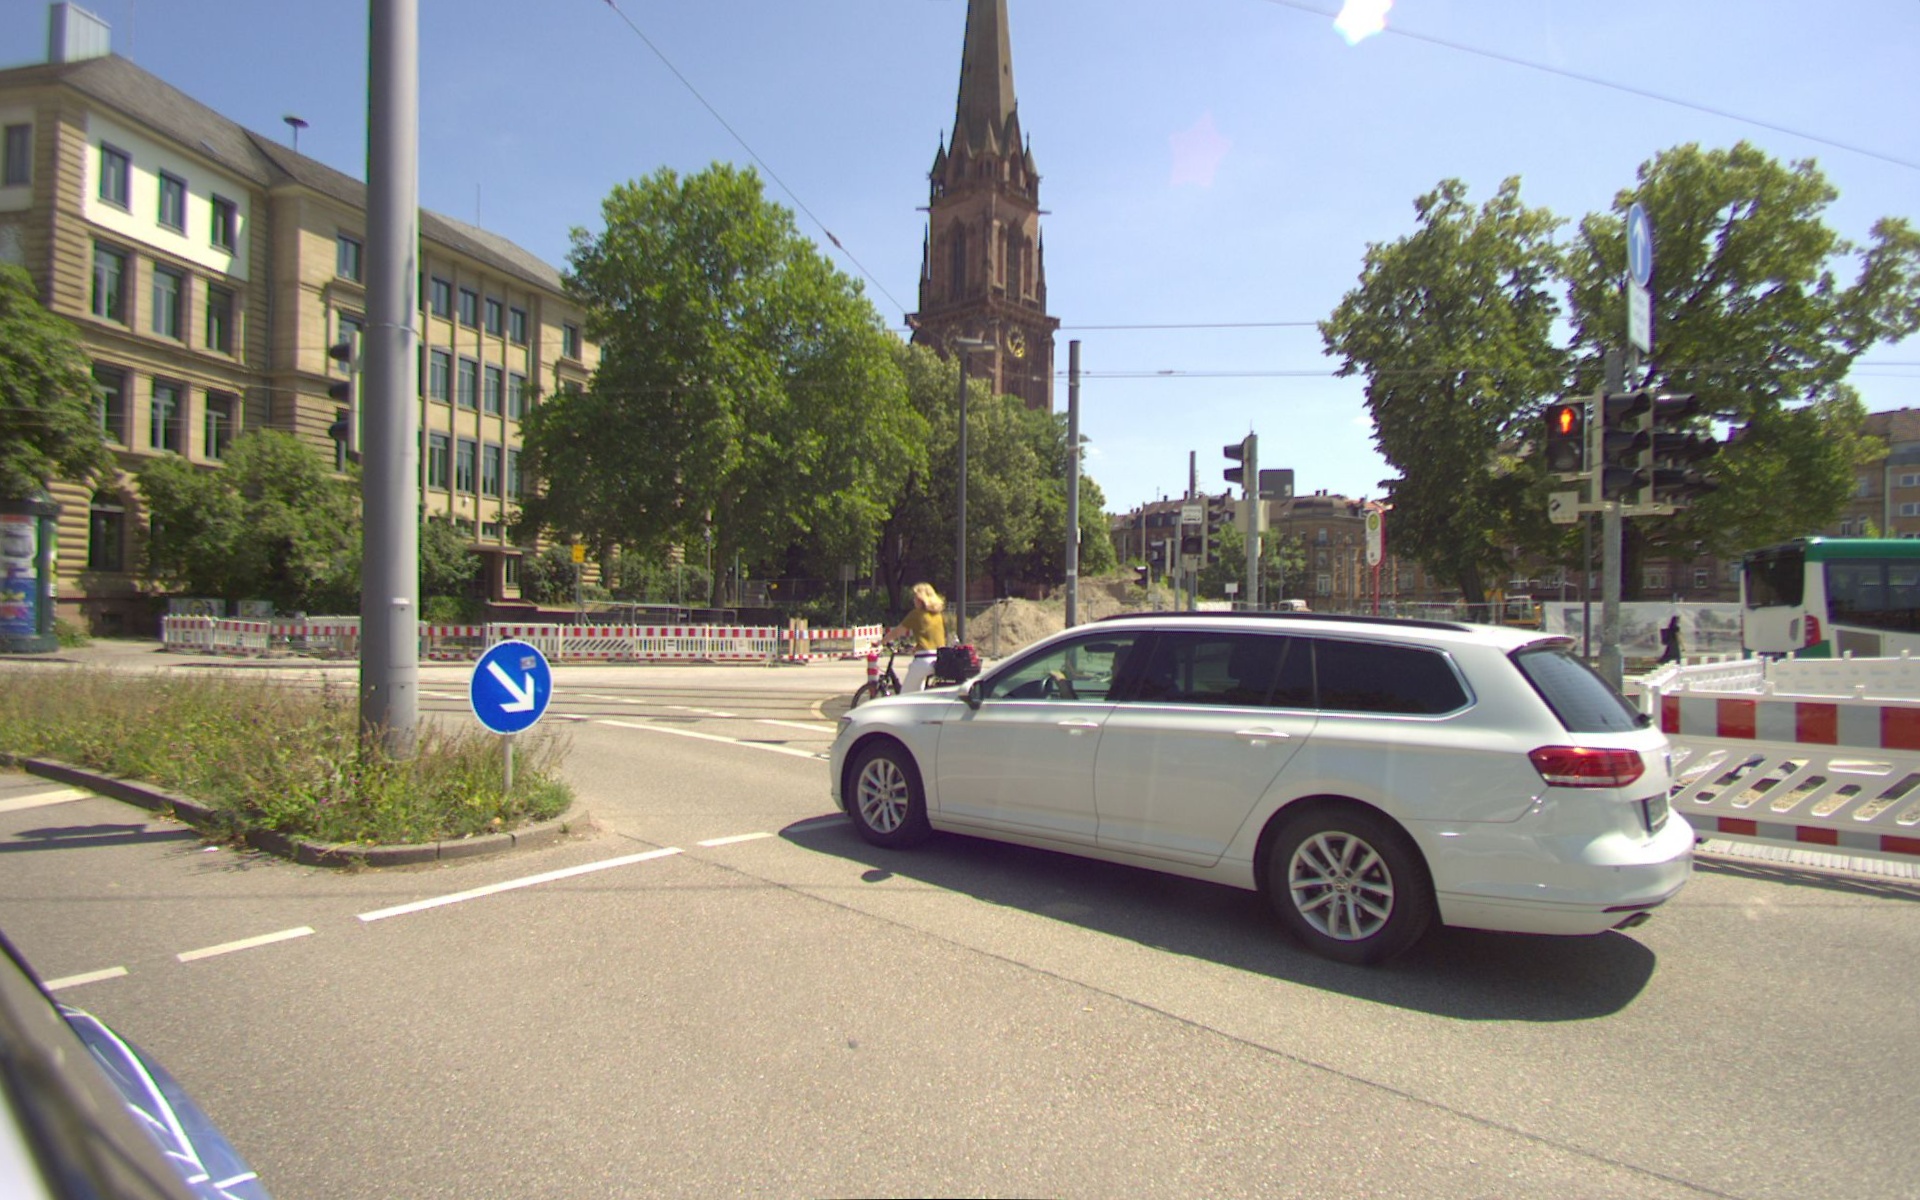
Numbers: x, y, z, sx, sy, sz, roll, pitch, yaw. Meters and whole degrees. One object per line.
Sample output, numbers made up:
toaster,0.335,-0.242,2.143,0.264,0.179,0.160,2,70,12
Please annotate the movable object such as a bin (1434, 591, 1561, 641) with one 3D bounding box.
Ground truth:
movable object such as a bin,39.031,1.092,73.558,7.952,3.414,2.877,0,1,33

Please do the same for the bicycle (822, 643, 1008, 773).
bicycle,-0.495,1.046,10.311,2.008,1.159,0.582,0,-3,40

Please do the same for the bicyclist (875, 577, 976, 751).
bicyclist,-0.350,0.628,10.215,0.798,1.678,0.579,0,-3,40

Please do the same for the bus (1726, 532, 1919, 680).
bus,23.212,0.068,21.821,10.485,3.076,2.847,-1,1,10

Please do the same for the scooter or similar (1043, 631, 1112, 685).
scooter or similar,2.423,1.189,20.996,1.446,1.068,0.335,0,1,38

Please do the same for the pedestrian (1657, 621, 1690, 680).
pedestrian,19.343,1.371,27.442,0.473,1.553,0.553,-1,1,-11

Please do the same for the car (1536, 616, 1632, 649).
car,33.017,1.679,53.661,4.226,1.614,1.765,0,1,29

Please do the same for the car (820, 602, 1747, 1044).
car,1.393,0.781,5.469,4.425,1.439,1.796,-1,-3,41
